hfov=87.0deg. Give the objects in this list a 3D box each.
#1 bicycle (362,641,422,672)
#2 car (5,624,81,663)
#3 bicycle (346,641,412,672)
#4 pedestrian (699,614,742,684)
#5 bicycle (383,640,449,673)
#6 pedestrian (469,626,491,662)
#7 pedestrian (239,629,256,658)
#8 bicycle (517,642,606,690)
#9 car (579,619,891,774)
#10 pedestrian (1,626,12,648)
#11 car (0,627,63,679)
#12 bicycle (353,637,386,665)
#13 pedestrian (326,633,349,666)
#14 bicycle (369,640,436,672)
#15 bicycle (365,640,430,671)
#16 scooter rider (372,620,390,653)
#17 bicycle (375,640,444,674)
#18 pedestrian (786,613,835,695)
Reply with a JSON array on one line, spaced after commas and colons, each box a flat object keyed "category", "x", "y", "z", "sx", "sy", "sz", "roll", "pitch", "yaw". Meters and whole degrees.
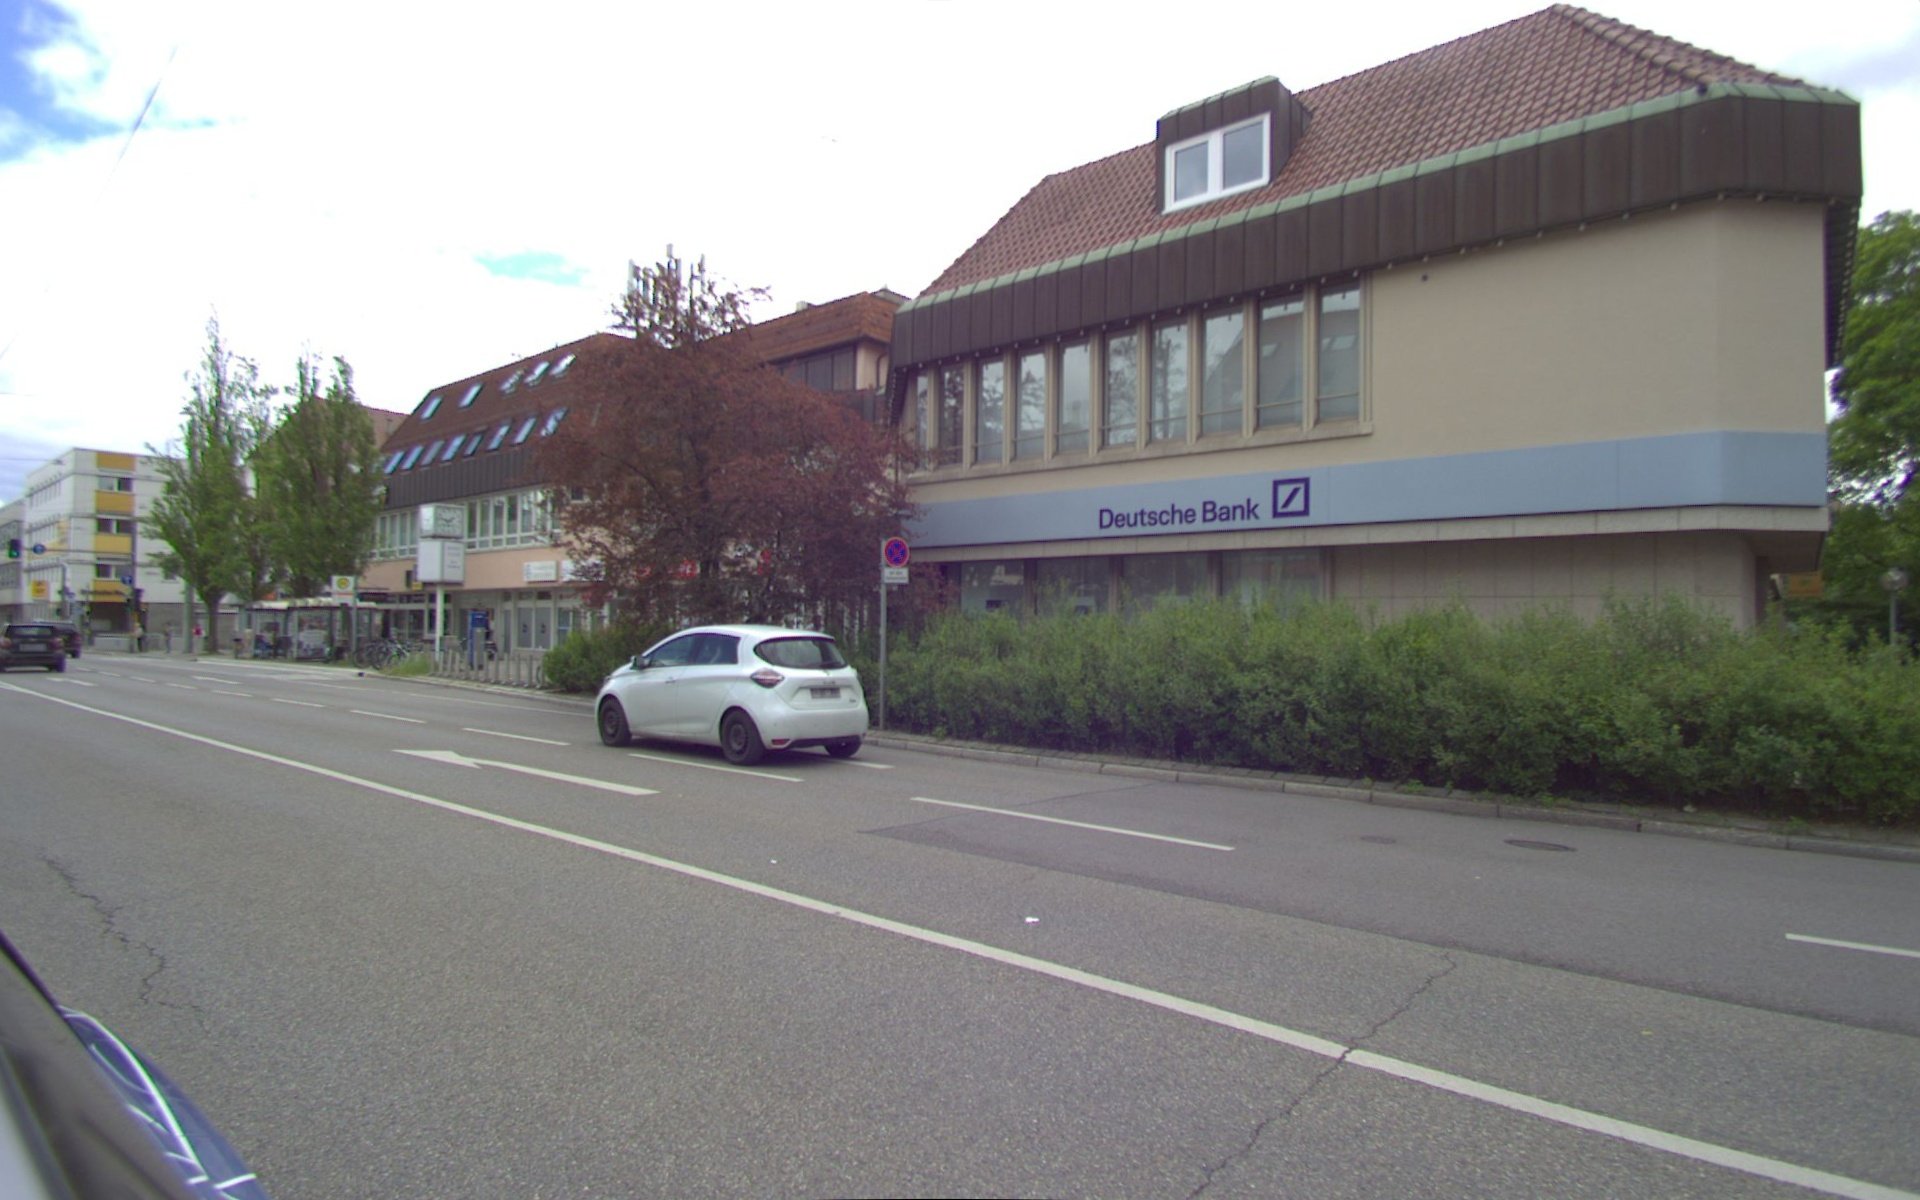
[{"category": "bicycle", "x": -21.532, "y": 2.129, "z": 38.404, "sx": 0.645, "sy": 1.098, "sz": 2.006, "roll": -1, "pitch": -1, "yaw": 26}, {"category": "car", "x": -42.980, "y": 2.036, "z": 47.411, "sx": 4.691, "sy": 1.752, "sz": 2.047, "roll": -2, "pitch": -4, "yaw": 41}, {"category": "bicycle", "x": -21.336, "y": 2.062, "z": 37.196, "sx": 0.647, "sy": 1.098, "sz": 2.000, "roll": -1, "pitch": -2, "yaw": 35}, {"category": "pedestrian", "x": -6.353, "y": 1.287, "z": 26.846, "sx": 0.756, "sy": 1.777, "sz": 0.717, "roll": -2, "pitch": 1, "yaw": 45}, {"category": "bicycle", "x": -18.999, "y": 1.945, "z": 35.388, "sx": 0.646, "sy": 1.098, "sz": 2.003, "roll": -1, "pitch": -2, "yaw": 30}, {"category": "pedestrian", "x": -20.763, "y": 1.899, "z": 43.791, "sx": 0.587, "sy": 1.559, "sz": 0.704, "roll": -3, "pitch": -2, "yaw": 39}, {"category": "pedestrian", "x": -40.796, "y": 2.491, "z": 57.944, "sx": 0.614, "sy": 1.647, "sz": 0.580, "roll": -2, "pitch": 0, "yaw": 38}, {"category": "bicycle", "x": -9.551, "y": 1.565, "z": 24.341, "sx": 0.646, "sy": 1.098, "sz": 2.003, "roll": -1, "pitch": -2, "yaw": 30}, {"category": "car", "x": -2.813, "y": 1.061, "z": 12.241, "sx": 3.923, "sy": 1.580, "sz": 1.623, "roll": -1, "pitch": -3, "yaw": 40}, {"category": "pedestrian", "x": -81.587, "y": 3.147, "z": 86.624, "sx": 0.526, "sy": 1.816, "sz": 0.580, "roll": -2, "pitch": 0, "yaw": 40}, {"category": "car", "x": -29.615, "y": 1.631, "z": 31.696, "sx": 2.953, "sy": 1.552, "sz": 1.557, "roll": -1, "pitch": -3, "yaw": 35}, {"category": "bicycle", "x": -24.755, "y": 2.127, "z": 42.401, "sx": 1.928, "sy": 1.098, "sz": 0.528, "roll": -1, "pitch": -2, "yaw": 39}, {"category": "pedestrian", "x": -26.166, "y": 2.078, "z": 42.540, "sx": 0.588, "sy": 1.374, "sz": 0.704, "roll": -3, "pitch": -2, "yaw": 42}, {"category": "bicycle", "x": -19.641, "y": 1.963, "z": 35.703, "sx": 0.646, "sy": 1.098, "sz": 2.003, "roll": -1, "pitch": -2, "yaw": 30}, {"category": "bicycle", "x": -20.384, "y": 1.996, "z": 36.694, "sx": 0.646, "sy": 1.098, "sz": 2.003, "roll": -1, "pitch": -2, "yaw": 30}, {"category": "scooter rider", "x": -30.502, "y": 1.910, "z": 53.322, "sx": 0.587, "sy": 1.725, "sz": 0.607, "roll": -2, "pitch": 0, "yaw": 37}, {"category": "bicycle", "x": -18.680, "y": 1.911, "z": 34.385, "sx": 0.646, "sy": 1.098, "sz": 2.003, "roll": -1, "pitch": -2, "yaw": 30}, {"category": "pedestrian", "x": -3.371, "y": 1.212, "z": 22.781, "sx": 0.754, "sy": 1.777, "sz": 0.719, "roll": -2, "pitch": 0, "yaw": 38}]
